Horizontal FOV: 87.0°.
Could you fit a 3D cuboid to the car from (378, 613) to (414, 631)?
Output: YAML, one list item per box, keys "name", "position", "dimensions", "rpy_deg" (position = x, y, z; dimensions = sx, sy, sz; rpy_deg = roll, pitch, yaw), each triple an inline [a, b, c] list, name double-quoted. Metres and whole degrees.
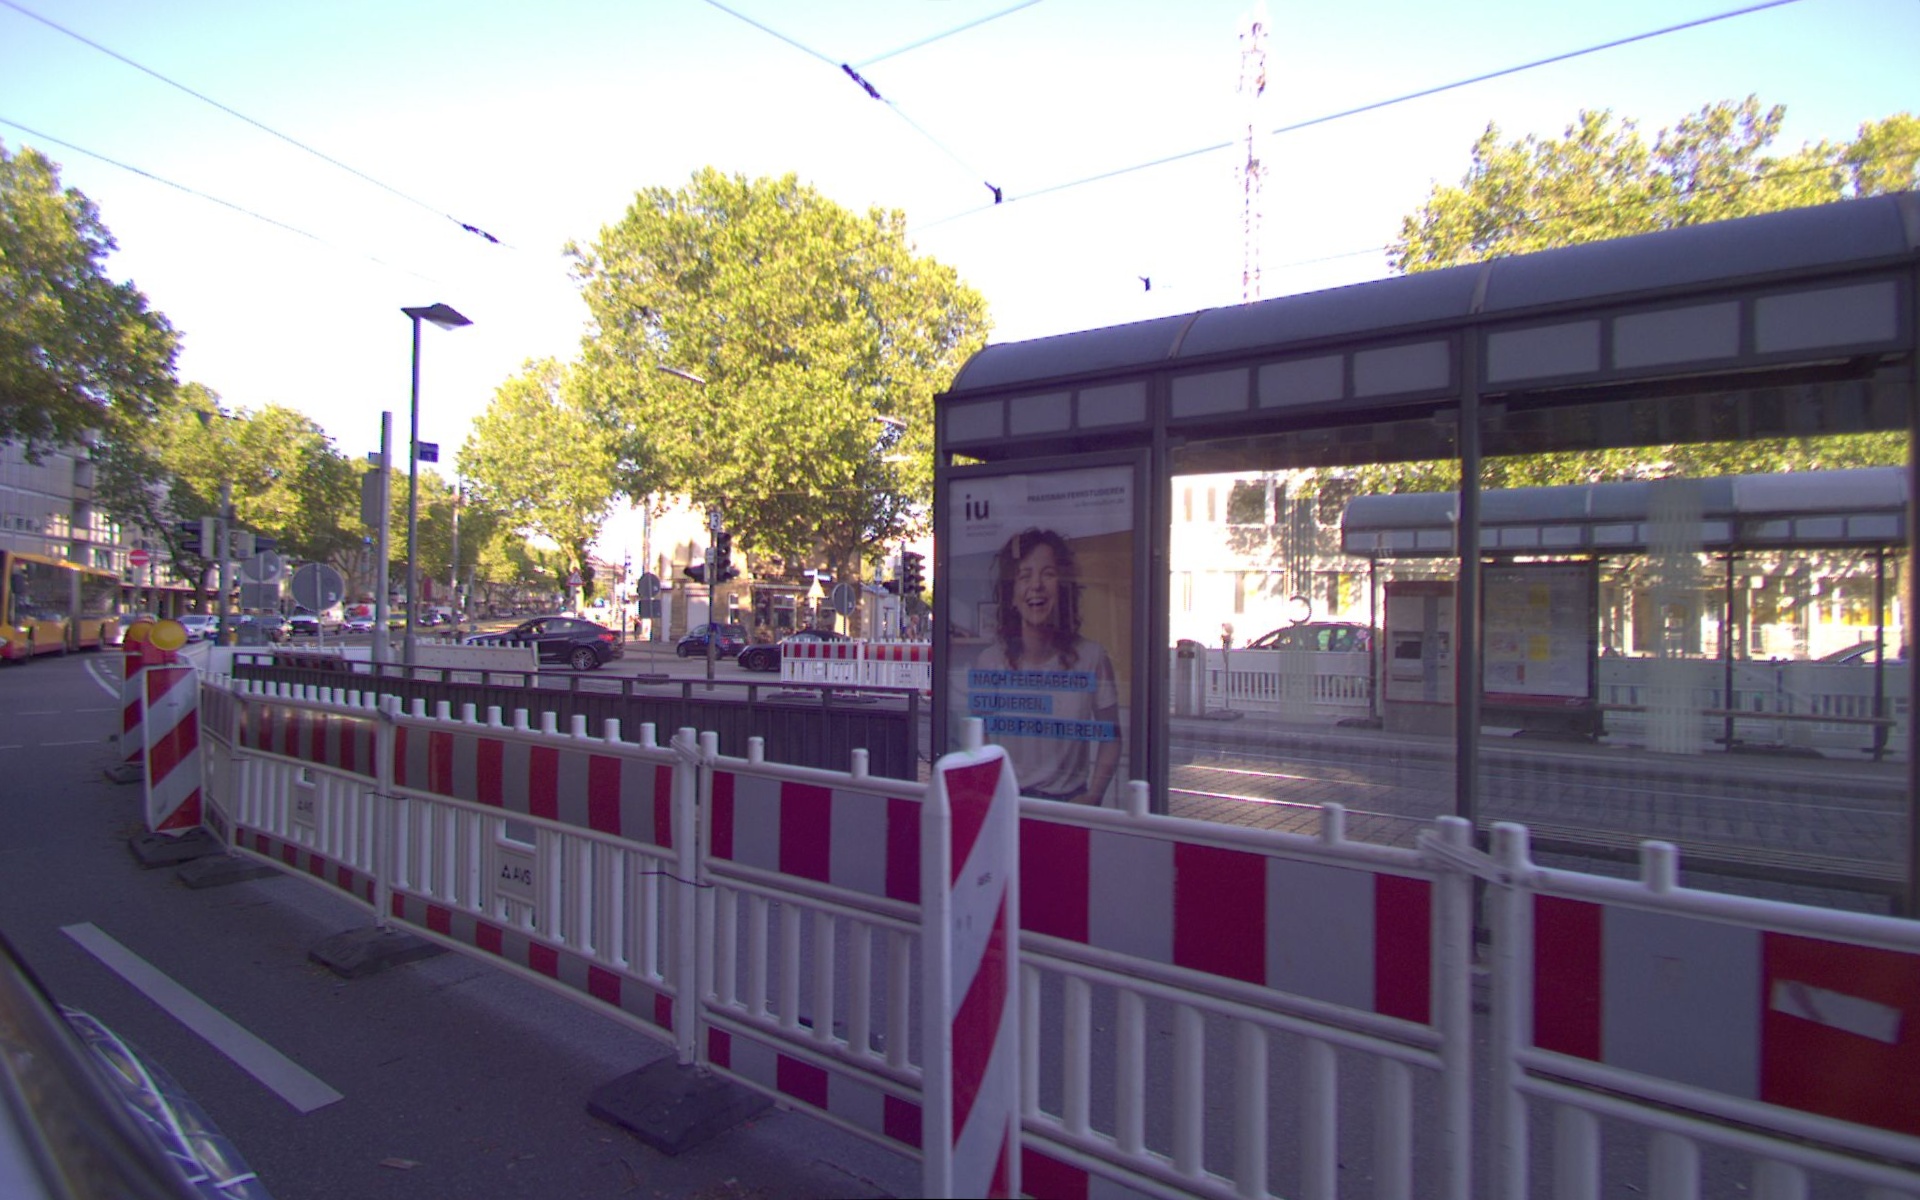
- name: "car"
  position: [-52.535, 2.039, 94.277]
  dimensions: [1.966, 1.608, 4.011]
  rpy_deg: [1, -1, -14]

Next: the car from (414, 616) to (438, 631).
- name: "car"
  position: [-57.913, 2.551, 109.843]
  dimensions: [1.677, 1.599, 3.718]
  rpy_deg: [1, -1, -18]

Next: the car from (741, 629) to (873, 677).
- name: "car"
  position: [-4.608, 1.586, 30.644]
  dimensions: [3.635, 1.278, 1.608]
  rpy_deg: [2, -2, 8]

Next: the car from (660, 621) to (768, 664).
- name: "car"
  position: [-9.514, 1.671, 39.447]
  dimensions: [3.933, 1.476, 1.890]
  rpy_deg: [3, -4, -10]

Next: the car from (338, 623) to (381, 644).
- name: "car"
  position: [-48.982, 2.724, 82.659]
  dimensions: [1.966, 1.608, 4.011]
  rpy_deg: [1, -1, -14]

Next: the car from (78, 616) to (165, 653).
- name: "car"
  position: [-38.487, 1.553, 46.570]
  dimensions: [1.965, 1.608, 4.576]
  rpy_deg: [1, -2, -25]

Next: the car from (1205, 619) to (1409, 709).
- name: "car"
  position: [7.770, 1.362, 22.769]
  dimensions: [3.991, 1.829, 1.976]
  rpy_deg: [0, -2, 35]

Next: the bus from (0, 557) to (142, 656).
- name: "bus"
  position: [-33.780, 0.329, 38.578]
  dimensions: [2.694, 3.231, 12.396]
  rpy_deg: [-1, -1, -33]

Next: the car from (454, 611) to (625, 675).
- name: "car"
  position: [-12.536, 1.317, 30.452]
  dimensions: [4.366, 1.660, 2.004]
  rpy_deg: [3, -4, -10]

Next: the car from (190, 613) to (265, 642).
- name: "car"
  position: [-42.712, 1.605, 59.122]
  dimensions: [1.966, 1.608, 4.574]
  rpy_deg: [1, -2, -14]

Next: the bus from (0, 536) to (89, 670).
- name: "bus"
  position: [-27.431, 0.209, 28.732]
  dimensions: [2.694, 3.231, 12.338]
  rpy_deg: [-1, -1, -34]

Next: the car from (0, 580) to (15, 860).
- name: "car"
  position: [-7.892, 0.735, 6.616]
  dimensions: [4.200, 1.660, 1.974]
  rpy_deg: [-1, -1, 39]

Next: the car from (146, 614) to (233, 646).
- name: "car"
  position: [-40.170, 1.573, 52.873]
  dimensions: [1.966, 1.608, 4.574]
  rpy_deg: [1, -2, -14]

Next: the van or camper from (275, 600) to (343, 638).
- name: "van or camper"
  position: [-45.940, 1.358, 71.566]
  dimensions: [2.254, 2.558, 5.509]
  rpy_deg: [1, -1, -13]
